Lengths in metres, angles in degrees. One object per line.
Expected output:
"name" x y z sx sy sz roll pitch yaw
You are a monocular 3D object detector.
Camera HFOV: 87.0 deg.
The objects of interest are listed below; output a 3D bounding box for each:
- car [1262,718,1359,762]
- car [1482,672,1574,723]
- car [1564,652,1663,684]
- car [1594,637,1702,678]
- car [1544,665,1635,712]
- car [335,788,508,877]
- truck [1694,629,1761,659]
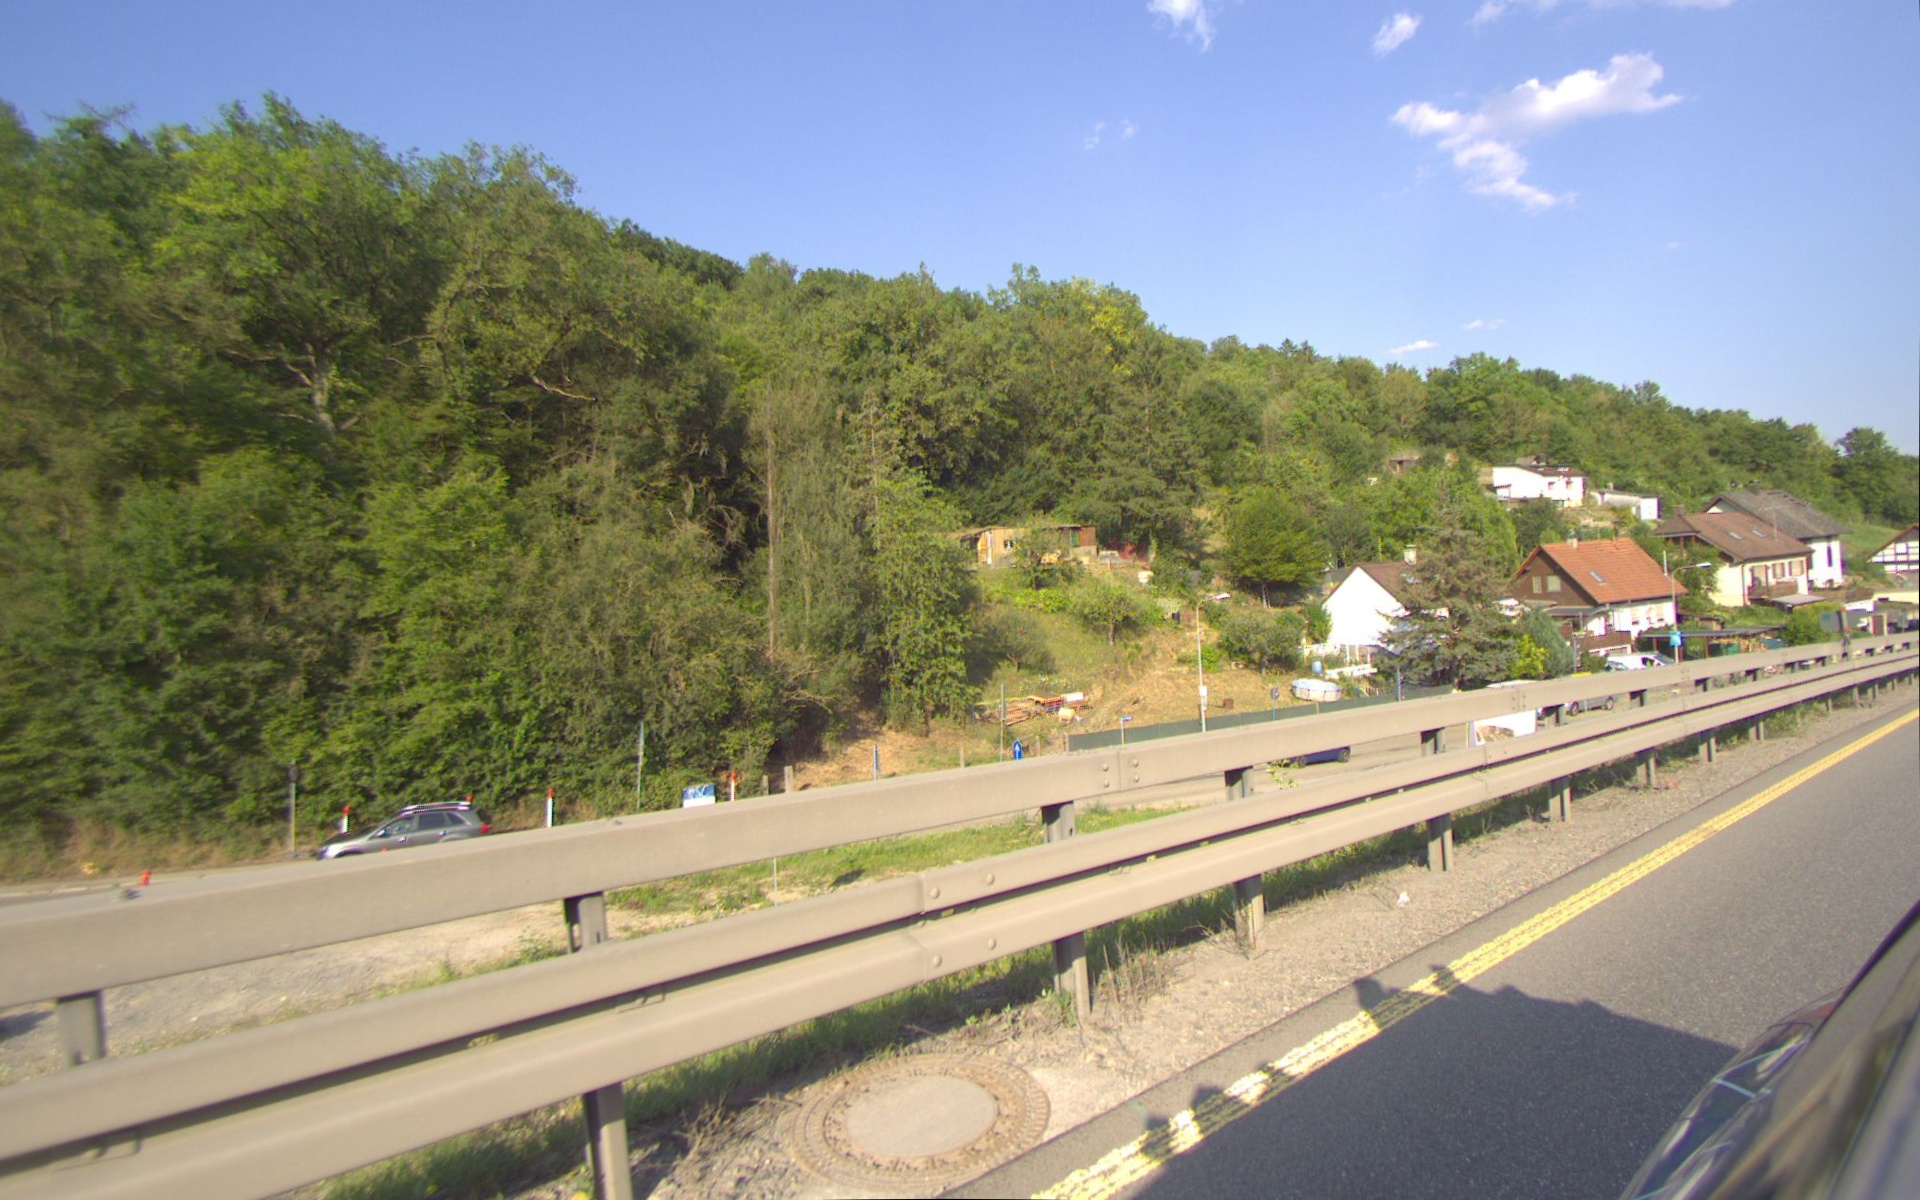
"car" 15.183 6.035 43.881 3.541 1.619 1.776 0 -3 -18
"car" 29.789 5.053 53.036 4.952 2.010 1.871 -3 2 -29
"car" 41.772 4.320 64.791 1.682 1.576 5.112 -2 1 -29
"car" 45.051 3.713 66.418 1.960 2.292 5.490 -2 1 -29
"car" 34.373 4.770 55.227 4.765 1.940 2.005 -3 2 -27
"car" -15.811 6.812 29.989 4.405 1.807 1.872 0 0 -24
"truck" 53.912 3.084 71.154 1.969 1.760 3.987 -7 -2 11
